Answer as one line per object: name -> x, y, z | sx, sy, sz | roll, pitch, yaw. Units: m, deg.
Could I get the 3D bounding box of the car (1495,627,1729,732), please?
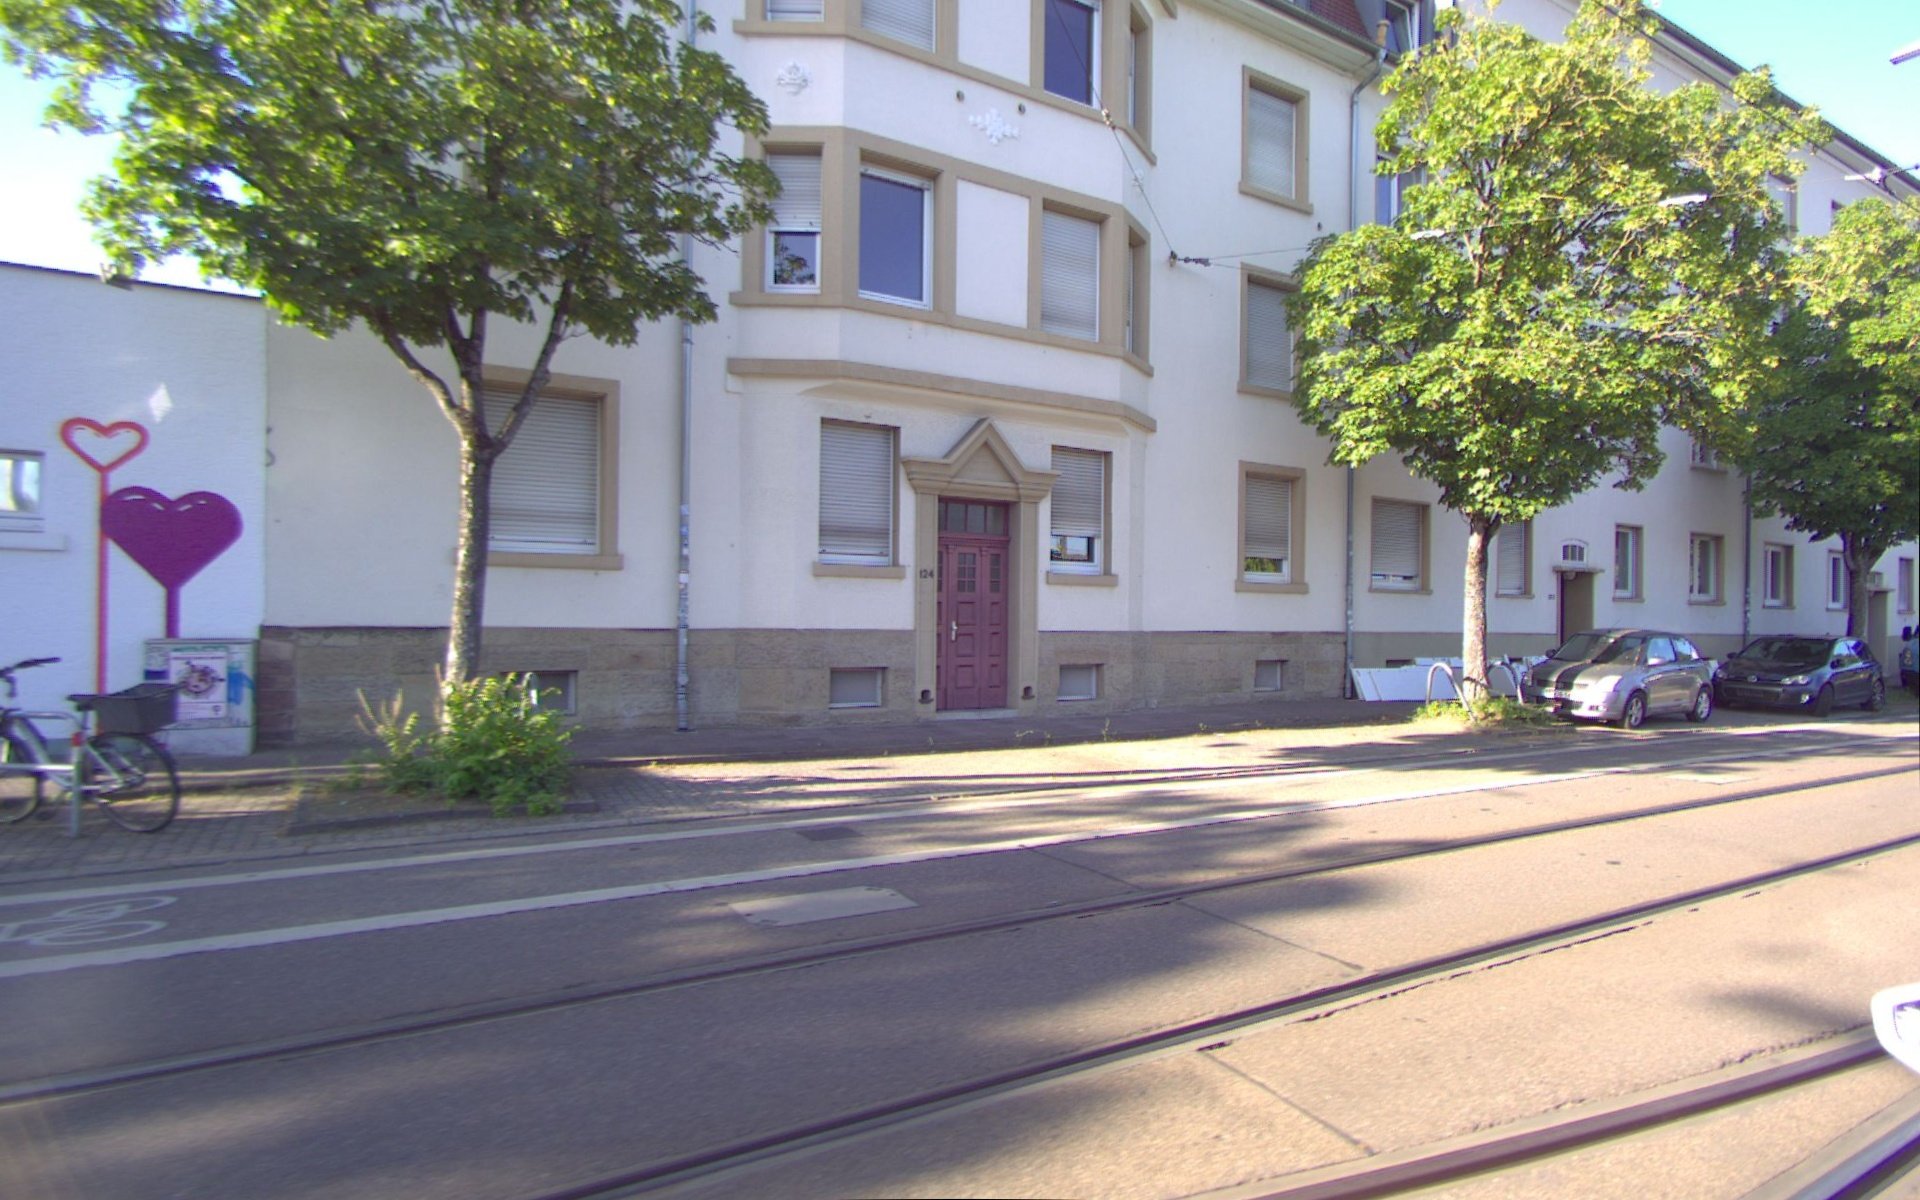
car -> 10.841, 1.247, 16.648 | 3.953, 1.511, 1.643 | 2, 0, -30

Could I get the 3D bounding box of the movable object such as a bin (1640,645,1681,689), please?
movable object such as a bin -> 15.635, 1.495, 22.426 | 0.563, 0.947, 0.592 | 1, -1, -33

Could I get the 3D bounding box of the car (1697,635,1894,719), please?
car -> 16.338, 1.445, 19.604 | 4.140, 1.444, 1.643 | 2, 0, -30

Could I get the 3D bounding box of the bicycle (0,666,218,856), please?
bicycle -> -5.930, 1.017, 6.633 | 1.947, 1.054, 0.532 | 1, 0, 14

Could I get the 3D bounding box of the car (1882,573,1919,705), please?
car -> 23.606, 0.916, 22.928 | 5.959, 2.863, 2.008 | 2, 0, -30
